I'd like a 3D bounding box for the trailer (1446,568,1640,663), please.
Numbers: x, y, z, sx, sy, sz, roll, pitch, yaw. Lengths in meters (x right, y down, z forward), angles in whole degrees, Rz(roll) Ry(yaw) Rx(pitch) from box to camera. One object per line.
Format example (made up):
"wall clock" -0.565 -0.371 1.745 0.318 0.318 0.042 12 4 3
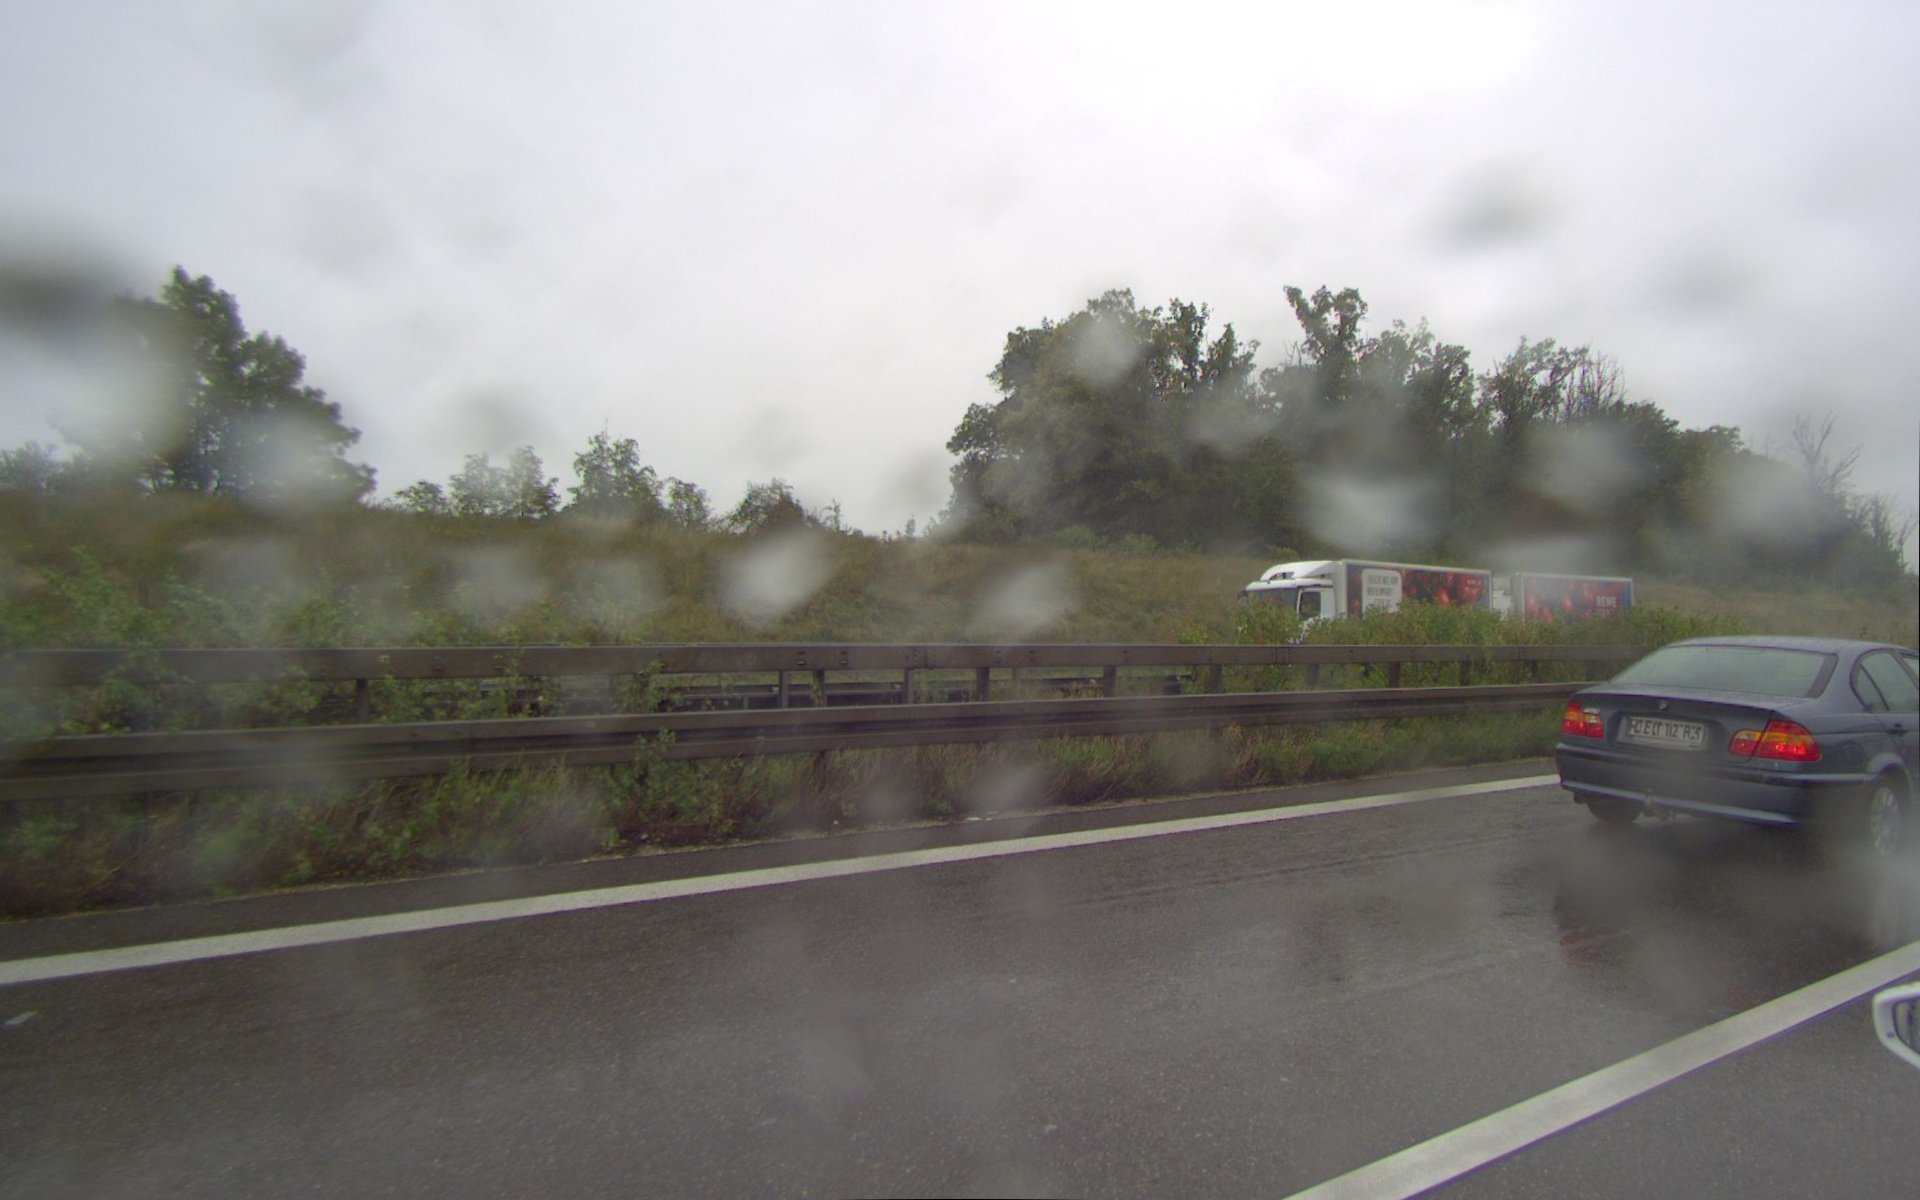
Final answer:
"trailer" 20.997 0.587 35.916 8.769 3.123 1.983 1 0 -31

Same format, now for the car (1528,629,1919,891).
"car" 6.242 0.963 7.391 4.179 1.418 1.710 2 -1 -30

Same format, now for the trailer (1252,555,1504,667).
"trailer" 13.168 0.393 31.199 9.444 3.123 1.983 1 0 -31
